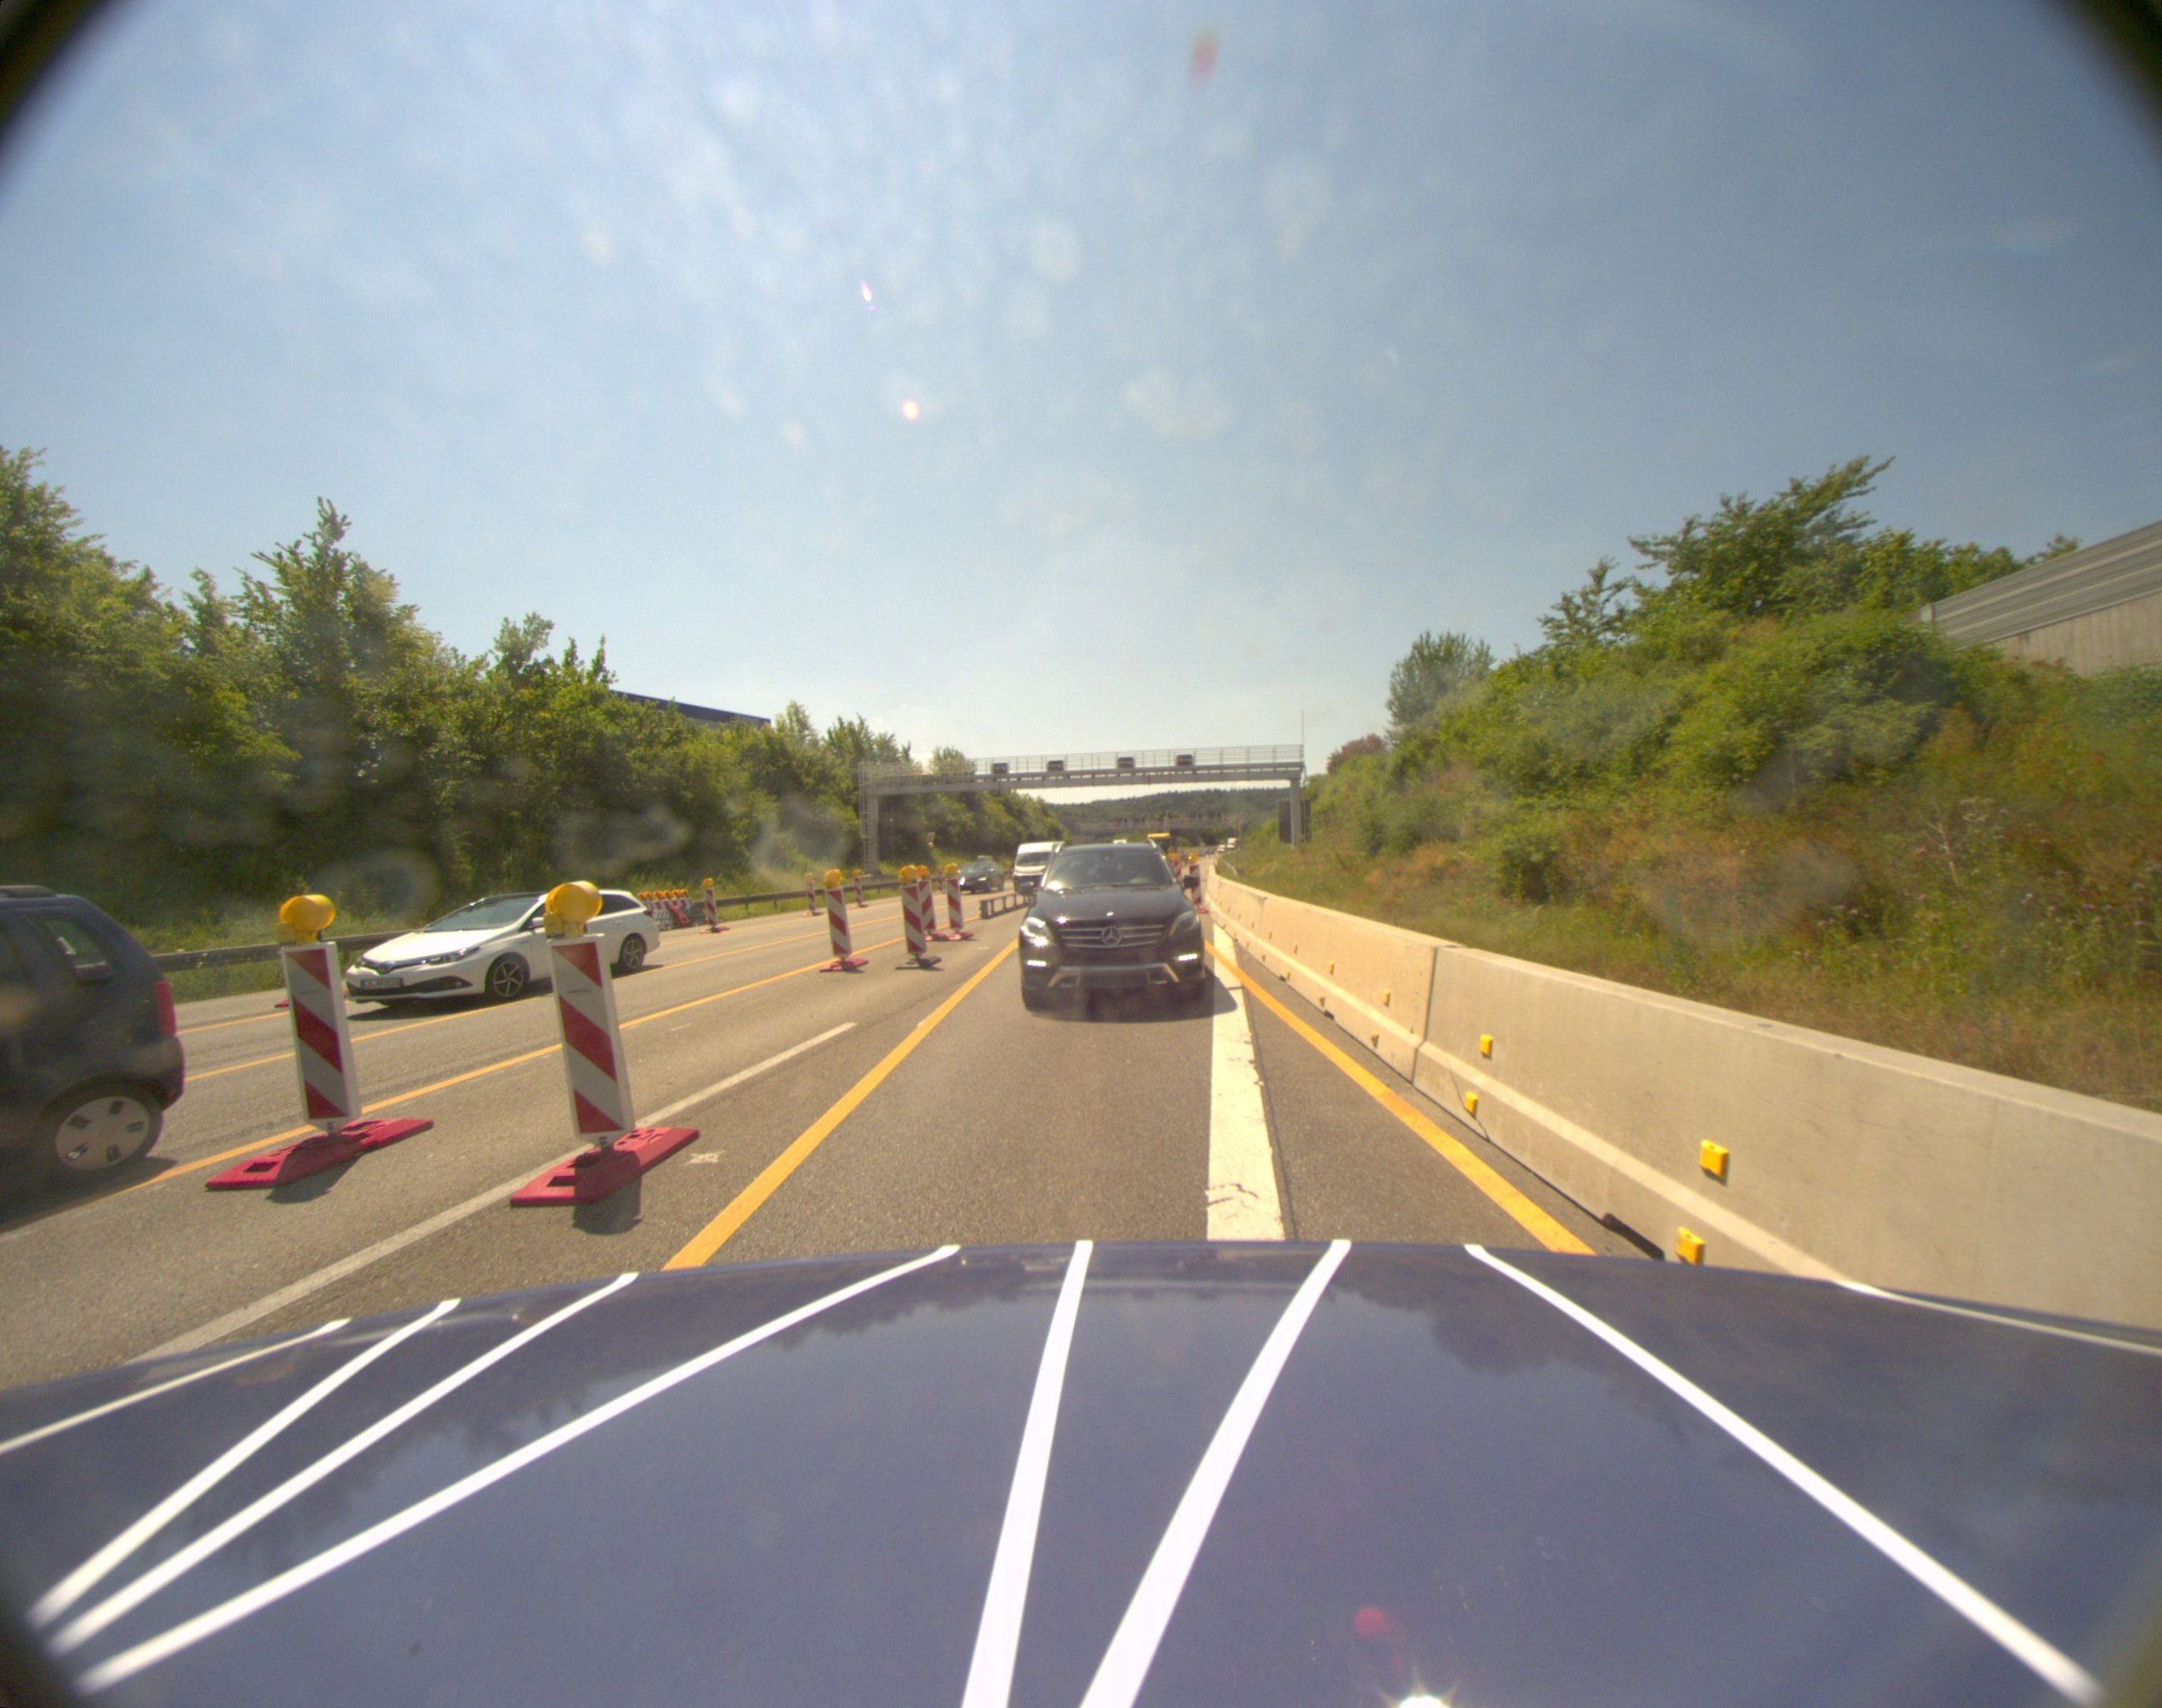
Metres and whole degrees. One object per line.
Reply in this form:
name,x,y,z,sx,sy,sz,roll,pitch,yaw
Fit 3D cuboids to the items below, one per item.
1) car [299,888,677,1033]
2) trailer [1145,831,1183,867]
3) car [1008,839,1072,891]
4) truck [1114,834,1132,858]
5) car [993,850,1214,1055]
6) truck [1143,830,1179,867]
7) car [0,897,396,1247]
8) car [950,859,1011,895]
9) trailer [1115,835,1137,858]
car,-8.642,1.443,11.789,1.819,1.456,4.654,-3,1,6
trailer,9.928,-0.452,88.949,3.234,3.645,17.436,-3,-1,9
car,-2.062,0.538,40.720,2.270,2.521,6.587,-2,0,6
truck,7.391,-1.361,133.690,2.532,3.927,5.602,-3,0,8
car,0.380,0.842,8.741,1.819,1.685,4.495,-3,0,5
truck,8.517,-0.511,80.493,3.227,3.639,7.089,-3,-1,9
car,-6.389,1.202,3.583,1.819,1.633,4.654,-3,0,4
car,-5.327,1.176,40.937,2.023,1.653,5.239,-2,0,6
trailer,8.394,-1.362,140.410,2.545,3.929,13.878,-3,0,8
